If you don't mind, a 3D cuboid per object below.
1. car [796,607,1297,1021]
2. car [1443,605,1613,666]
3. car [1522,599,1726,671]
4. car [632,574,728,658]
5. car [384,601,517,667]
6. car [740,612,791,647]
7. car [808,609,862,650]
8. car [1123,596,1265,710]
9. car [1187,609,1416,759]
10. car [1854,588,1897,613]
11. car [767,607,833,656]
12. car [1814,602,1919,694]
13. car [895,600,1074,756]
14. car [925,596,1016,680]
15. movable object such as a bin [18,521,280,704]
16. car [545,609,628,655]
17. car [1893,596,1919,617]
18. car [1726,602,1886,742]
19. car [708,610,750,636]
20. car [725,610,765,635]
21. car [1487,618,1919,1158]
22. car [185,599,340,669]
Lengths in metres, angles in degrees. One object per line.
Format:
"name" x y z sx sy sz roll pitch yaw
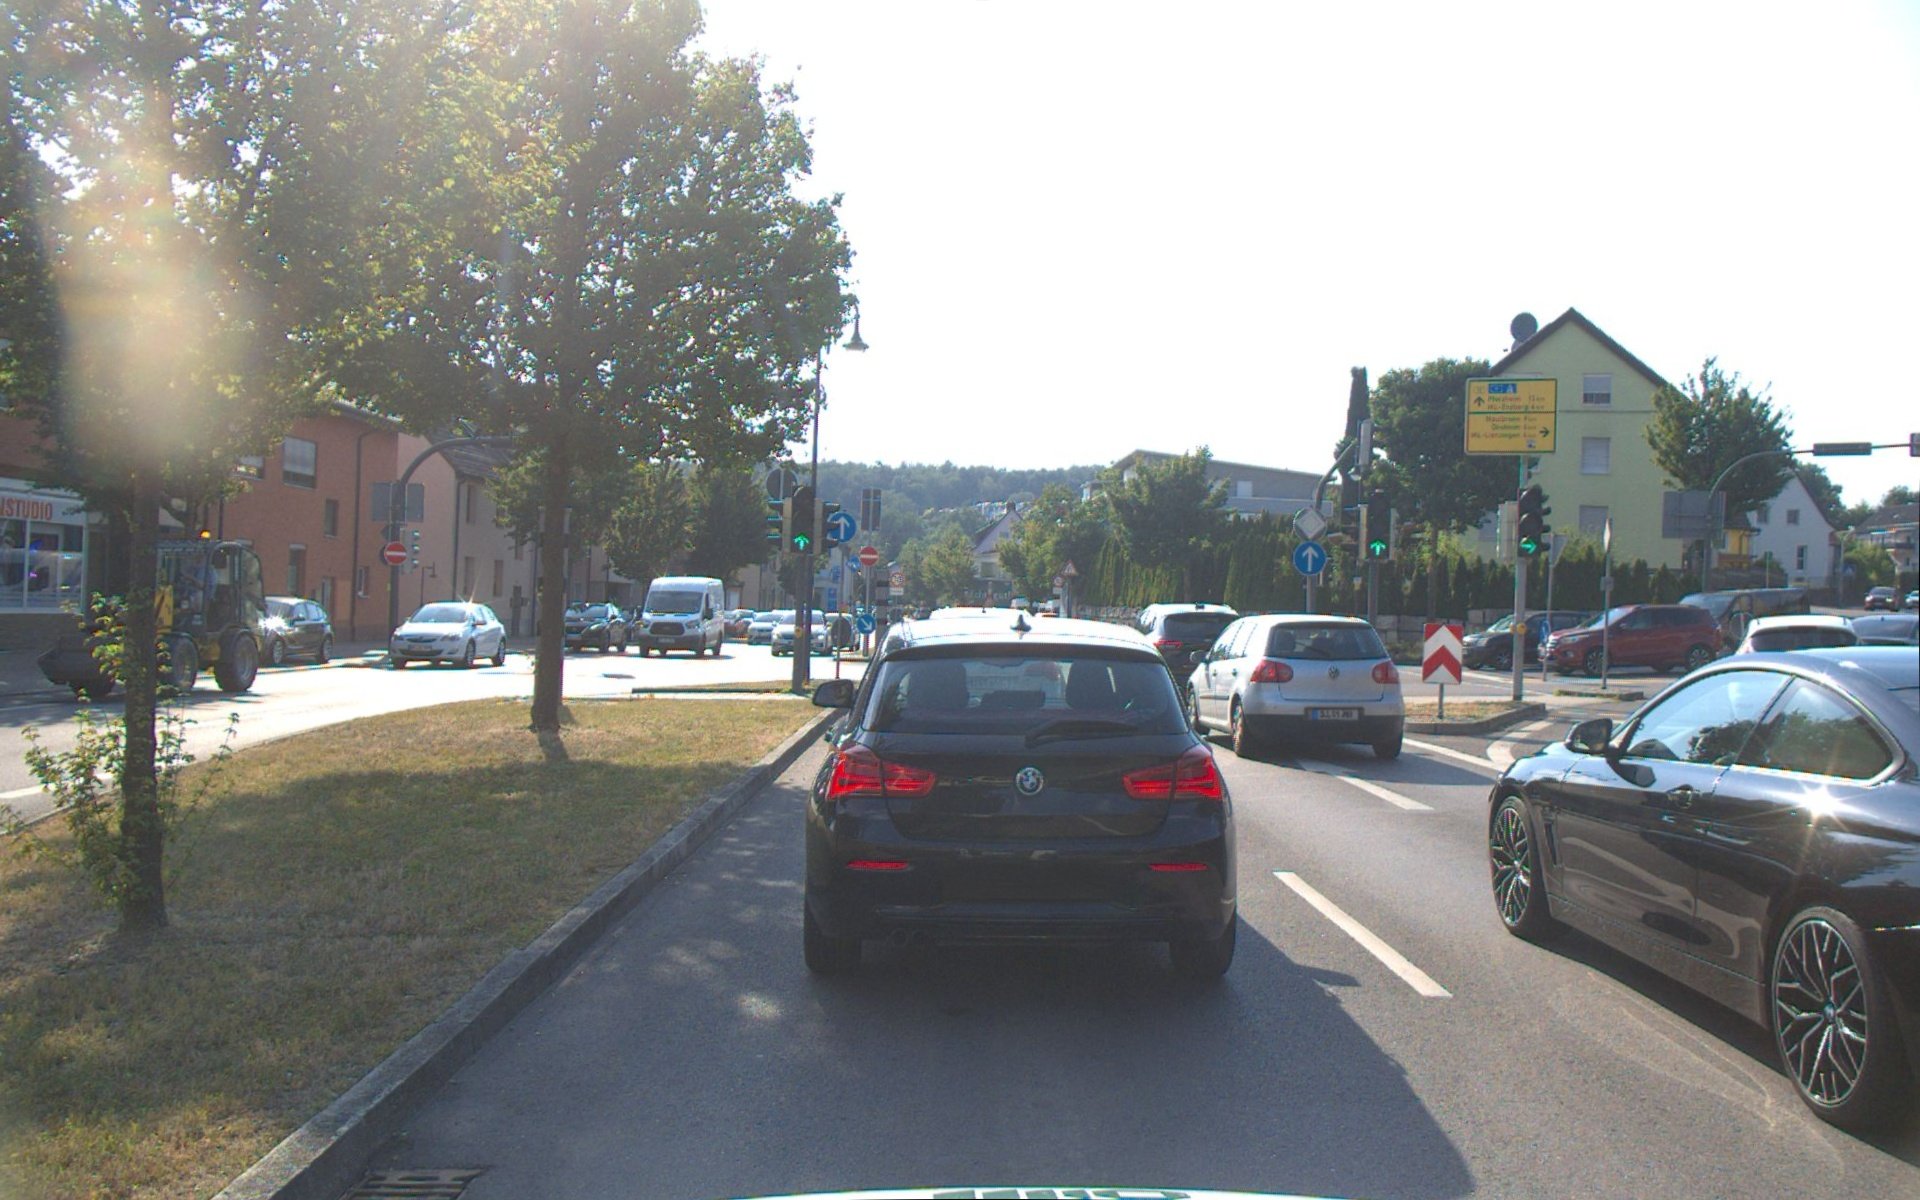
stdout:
"car" 0.301 0.761 7.964 1.751 1.422 4.280 -1 0 0
"car" 15.194 0.933 44.380 3.907 1.515 1.847 1 0 -3
"car" 16.348 0.847 40.801 4.333 1.670 1.845 1 0 -8
"car" -8.734 0.501 52.111 2.042 2.435 5.527 1 -1 0
"car" -11.902 0.765 38.887 1.701 1.323 3.800 5 0 2
"car" -8.768 1.320 74.795 1.801 1.508 4.000 1 0 0
"car" -4.818 1.112 64.102 1.801 1.508 4.000 1 0 0
"car" 3.684 0.787 26.635 1.725 1.685 3.902 -1 0 0
"car" 3.655 0.844 18.348 1.725 1.451 3.902 -1 0 0
"car" 64.097 0.068 115.751 1.934 1.709 4.195 0 0 39
"car" -5.277 1.018 54.963 1.801 1.508 4.000 1 0 0
"car" 17.492 0.831 30.733 4.366 1.569 1.634 0 0 -45
"car" 0.241 0.772 18.481 1.751 1.520 4.280 -1 0 0
"car" 0.201 0.738 34.224 1.751 1.622 4.280 -1 0 0
"movable object such as a bin" -12.018 0.183 24.870 1.701 2.485 4.449 0 0 0
"car" -12.419 1.053 55.204 1.701 1.323 3.800 5 0 2
"car" 79.162 0.517 137.698 1.934 1.709 4.195 0 0 39
"car" 10.582 0.830 20.591 1.588 1.569 3.310 -1 0 30
"car" -13.480 1.328 96.766 1.701 1.323 3.800 5 0 2
"car" -13.254 1.373 102.190 1.701 1.323 3.800 5 0 2
"car" 3.477 0.806 6.036 1.725 1.422 4.280 -1 0 0
"car" -15.450 0.719 36.854 1.702 1.323 3.999 5 0 -1
